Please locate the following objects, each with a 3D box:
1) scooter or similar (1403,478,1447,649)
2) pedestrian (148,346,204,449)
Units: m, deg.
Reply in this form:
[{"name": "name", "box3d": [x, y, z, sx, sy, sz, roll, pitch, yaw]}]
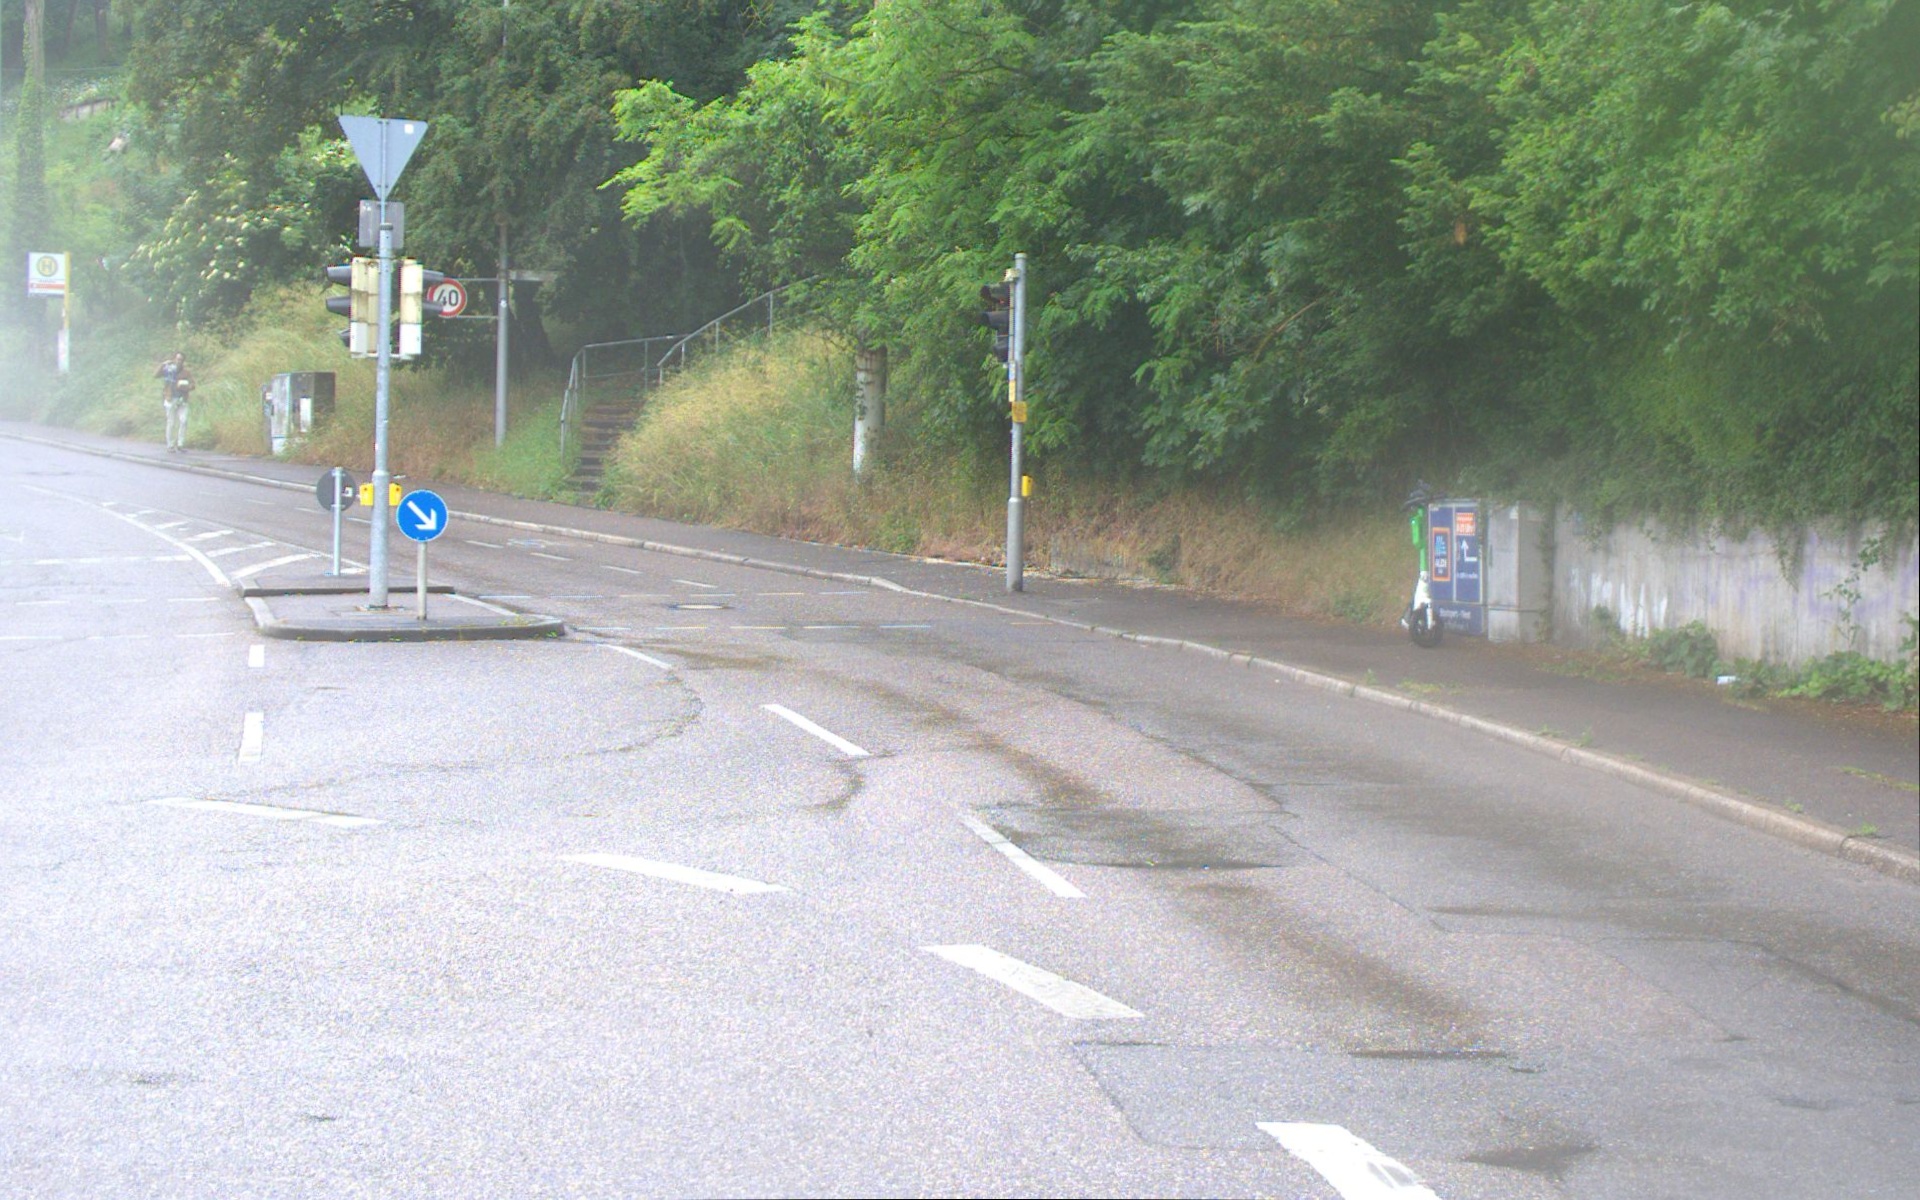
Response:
[{"name": "scooter or similar", "box3d": [3.585, -0.292, 26.495, 0.322, 1.275, 0.751, 0, 4, 7]}, {"name": "pedestrian", "box3d": [-13.629, -3.507, 59.742, 0.880, 1.730, 0.866, 0, 0, -17]}]
